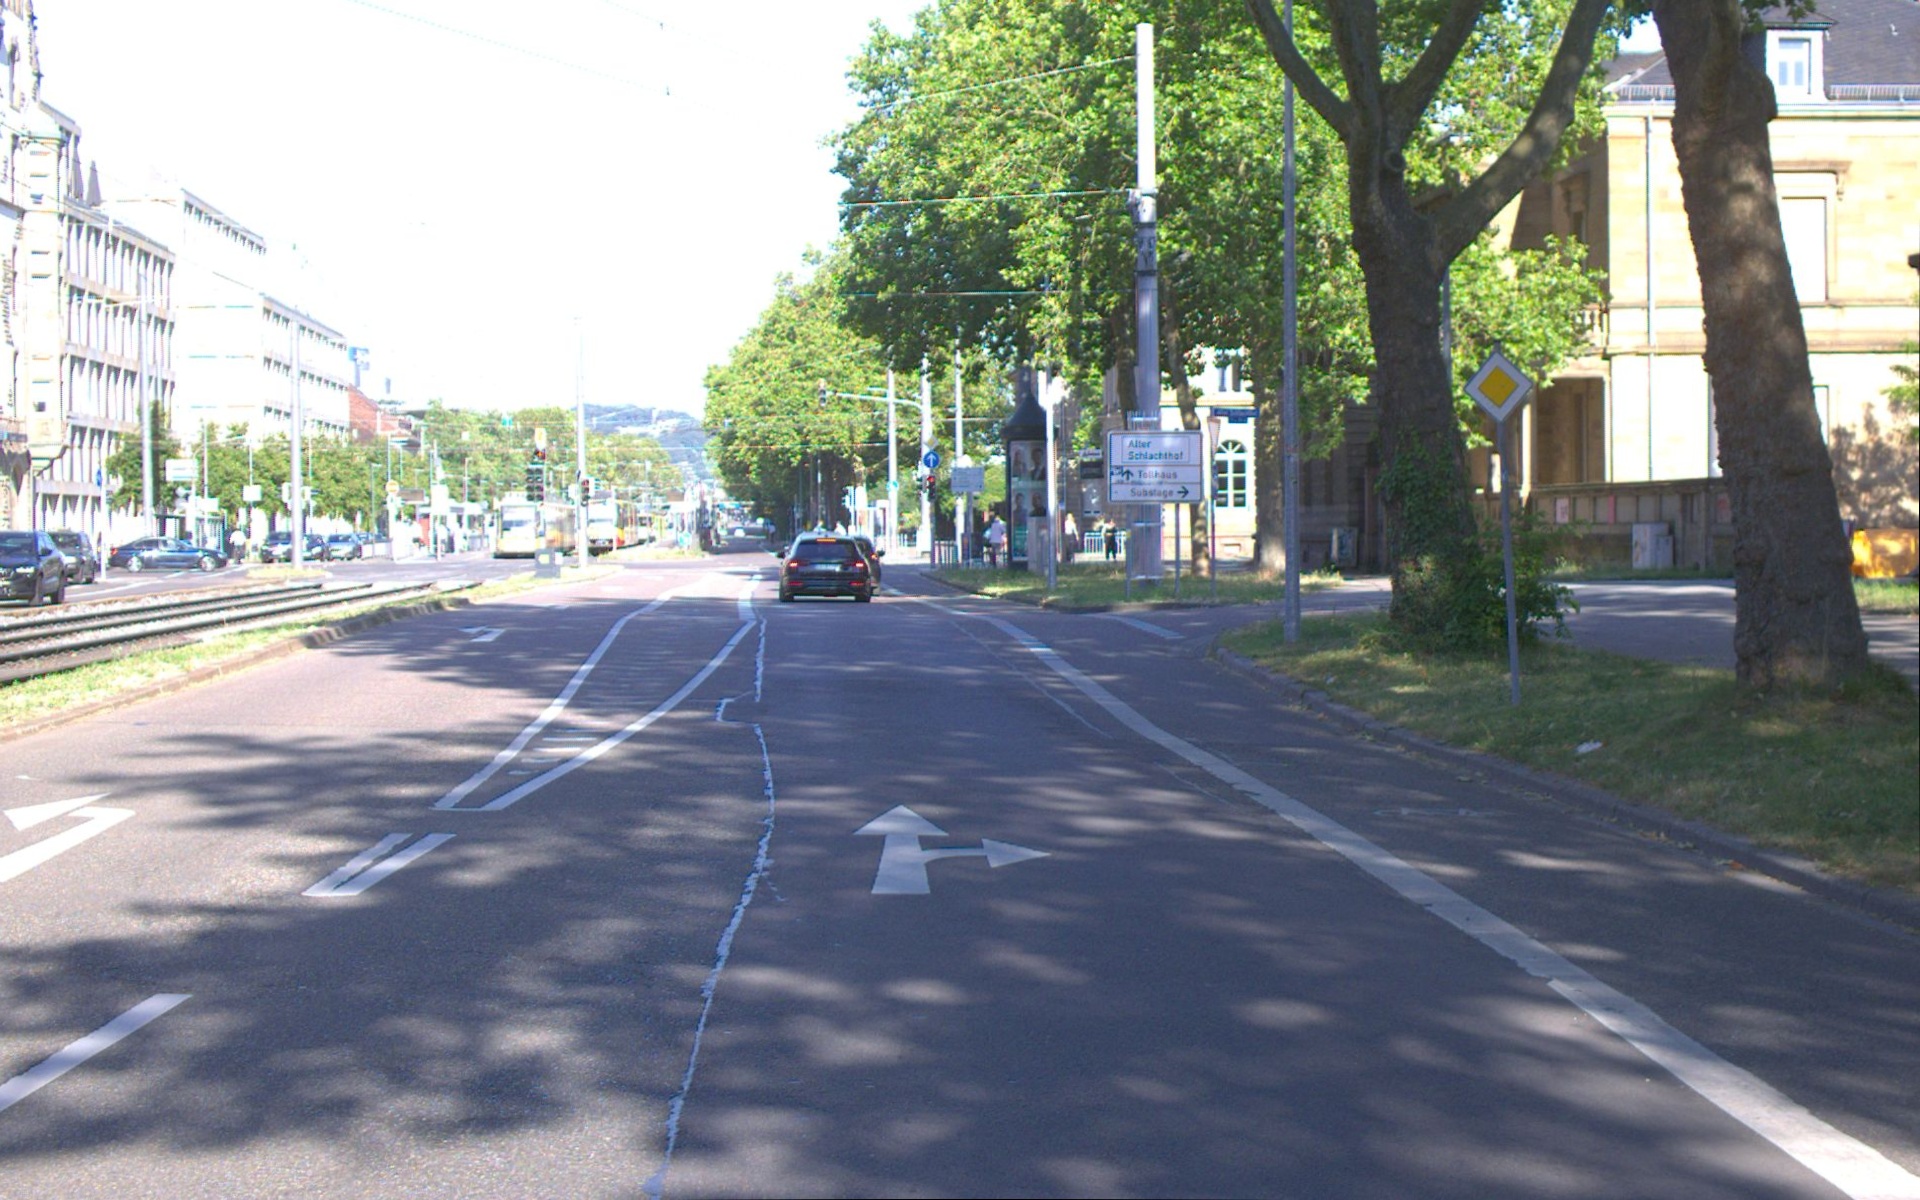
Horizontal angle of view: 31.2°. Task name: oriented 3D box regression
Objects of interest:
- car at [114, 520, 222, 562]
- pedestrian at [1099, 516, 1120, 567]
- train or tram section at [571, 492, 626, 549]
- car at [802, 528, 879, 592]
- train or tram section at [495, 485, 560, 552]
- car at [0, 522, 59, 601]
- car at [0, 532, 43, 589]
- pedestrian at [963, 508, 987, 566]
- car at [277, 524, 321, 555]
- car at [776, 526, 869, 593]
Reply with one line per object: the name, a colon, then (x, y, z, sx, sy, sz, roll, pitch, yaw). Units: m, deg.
car: (-30.818, -2.298, 133.912, 3.986, 1.505, 1.800, 1, 0, -10)
pedestrian: (5.167, -2.018, 118.458, 0.588, 1.722, 0.650, 2, 1, 11)
train or tram section: (-22.511, -4.935, 214.362, 2.825, 3.439, 9.065, -1, 1, -3)
car: (-2.936, -0.992, 83.983, 1.794, 1.505, 4.001, -1, 1, -3)
train or tram section: (-23.037, -4.335, 183.466, 2.825, 3.439, 9.065, -1, 1, -3)
car: (-20.029, -0.812, 71.823, 1.635, 1.596, 4.160, -2, 1, -5)
car: (-26.871, -1.135, 96.247, 1.794, 1.505, 4.001, 3, 1, -8)
pedestrian: (0.465, -1.891, 103.717, 0.588, 1.722, 0.650, 2, 1, 9)
car: (-33.268, -3.055, 173.108, 1.794, 1.505, 4.001, -1, 1, -6)
car: (-2.952, -0.874, 72.994, 1.833, 1.386, 4.160, 0, 1, -4)
